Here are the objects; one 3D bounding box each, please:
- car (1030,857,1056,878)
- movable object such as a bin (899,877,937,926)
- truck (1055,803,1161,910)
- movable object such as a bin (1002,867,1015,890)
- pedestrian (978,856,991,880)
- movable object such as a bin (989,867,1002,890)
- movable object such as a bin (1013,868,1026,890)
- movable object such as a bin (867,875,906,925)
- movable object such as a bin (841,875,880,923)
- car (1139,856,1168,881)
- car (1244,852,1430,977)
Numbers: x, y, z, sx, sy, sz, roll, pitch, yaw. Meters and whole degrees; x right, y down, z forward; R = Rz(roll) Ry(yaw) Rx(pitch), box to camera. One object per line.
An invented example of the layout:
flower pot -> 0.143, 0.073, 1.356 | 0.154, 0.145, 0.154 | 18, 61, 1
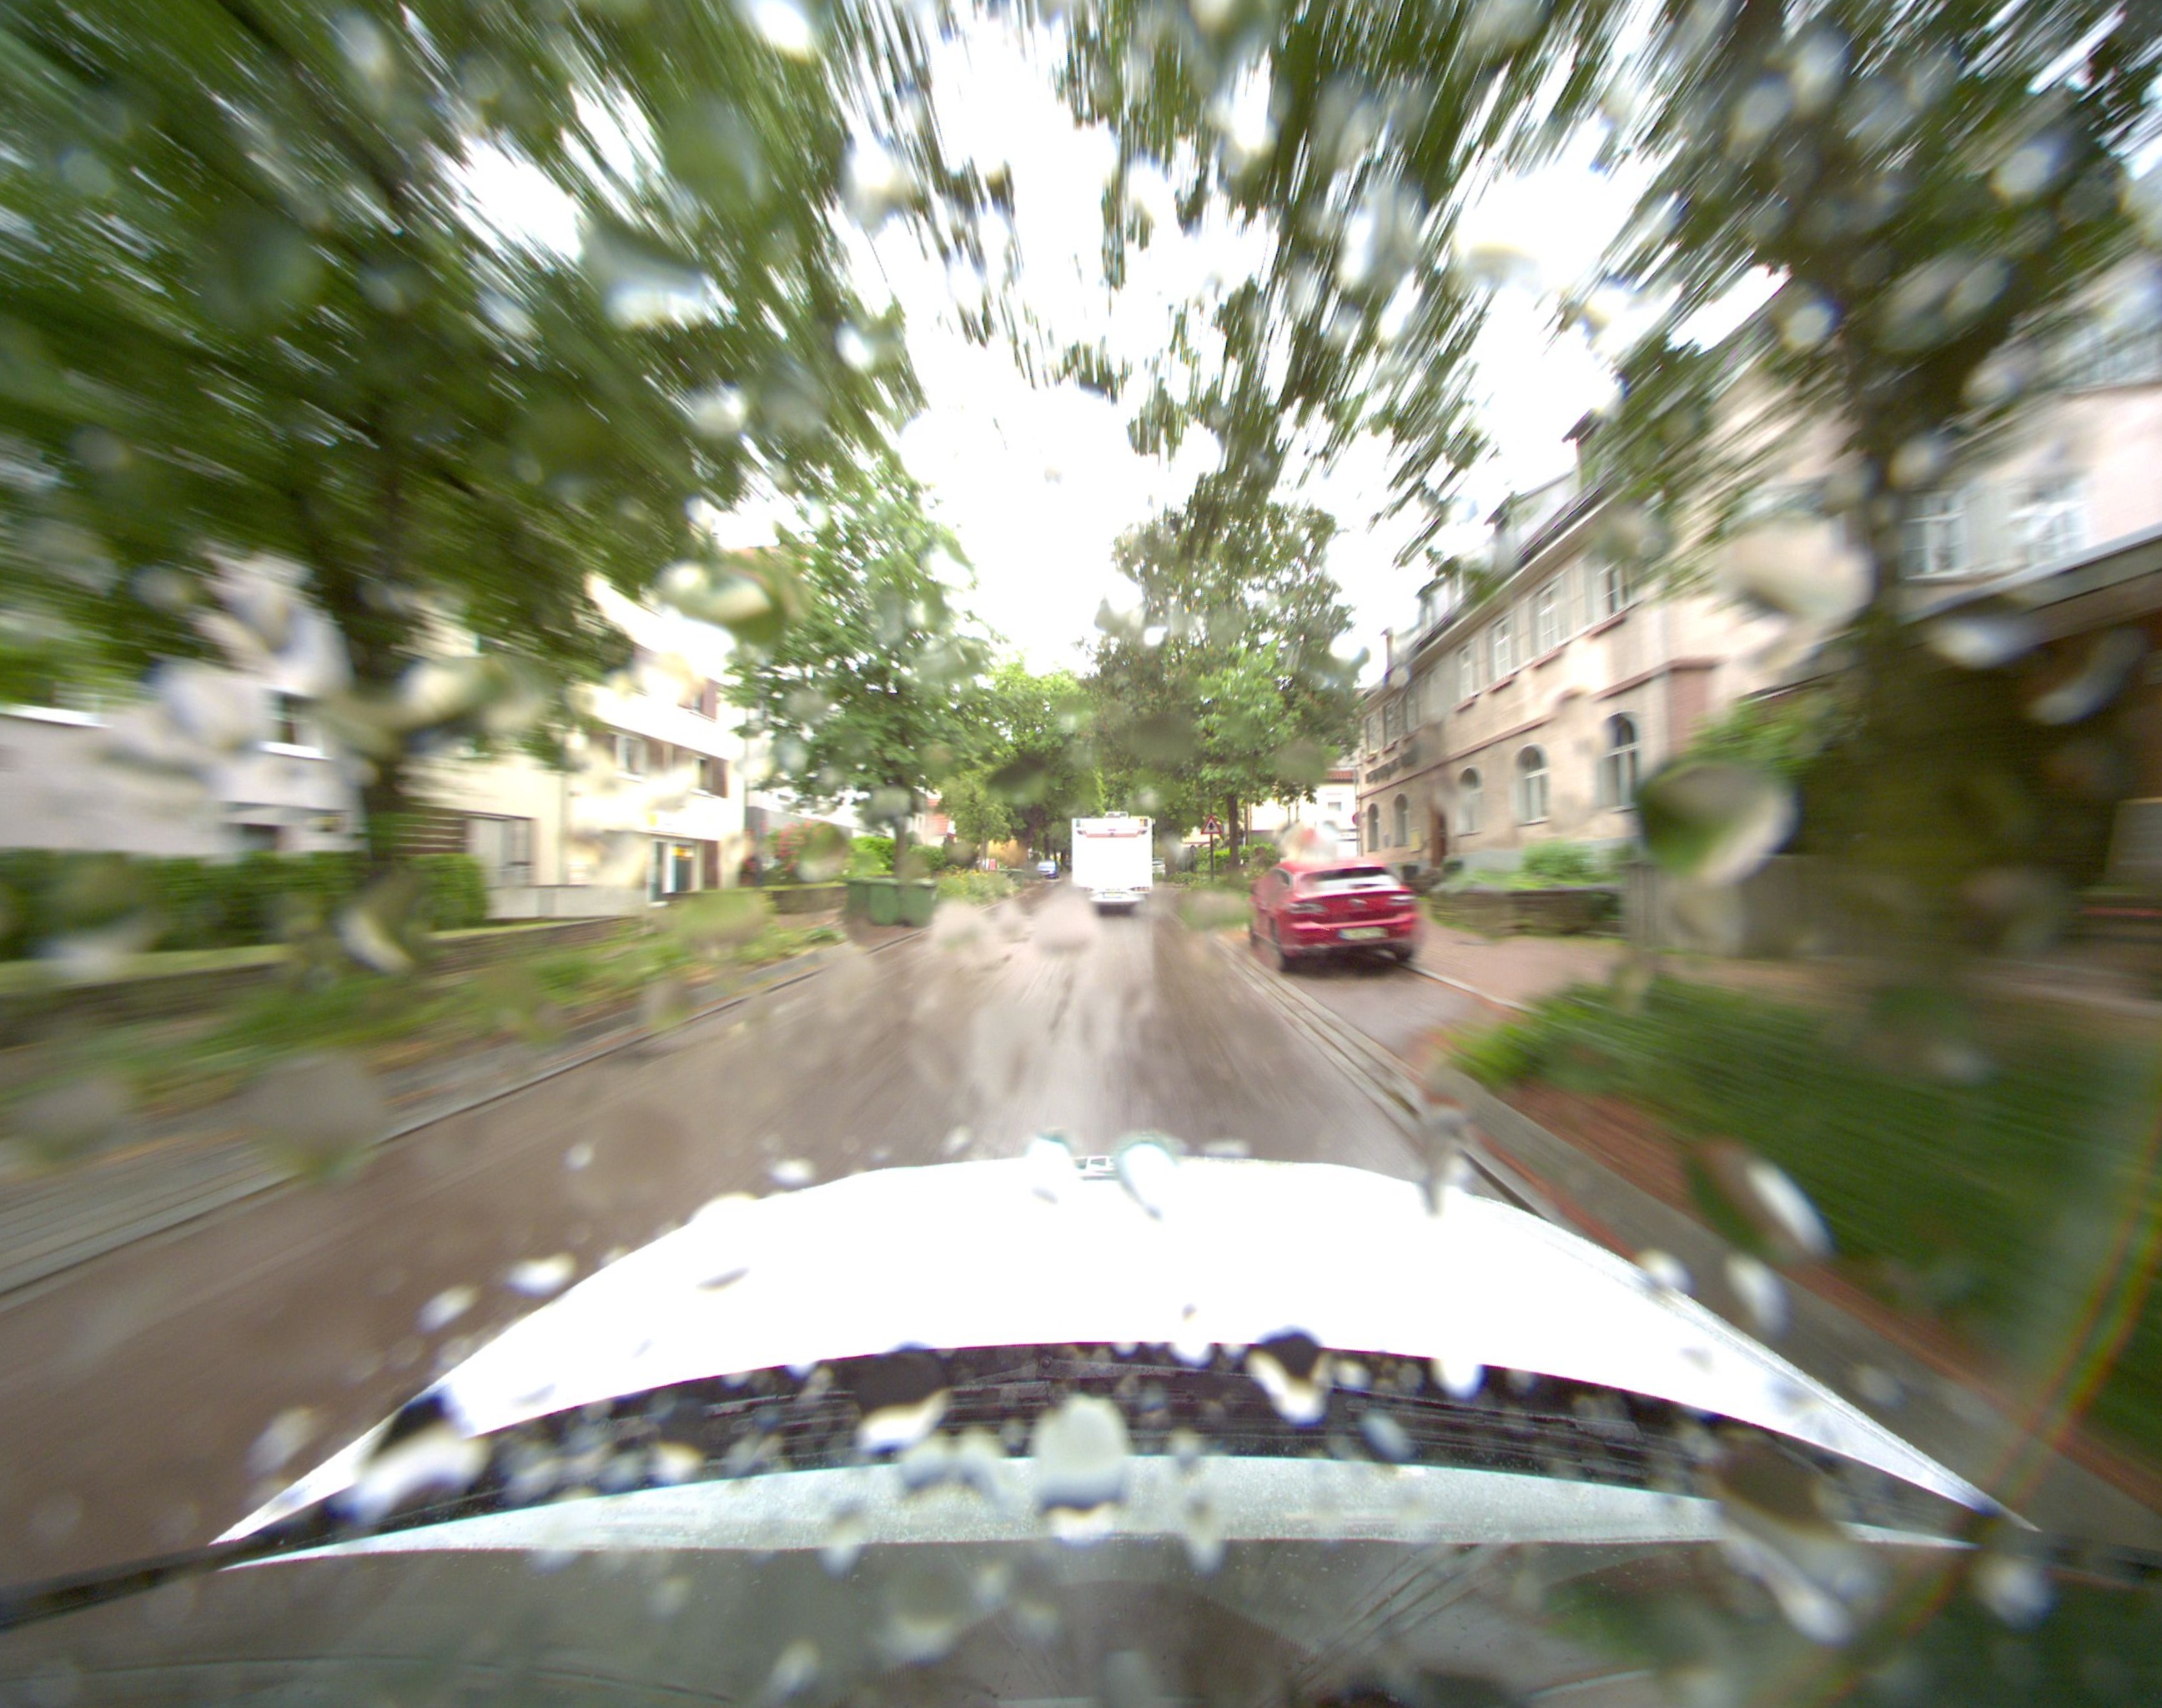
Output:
car -> -3.050, 1.095, 64.305 | 1.796, 1.552, 3.991 | -2, -1, -6
movable object such as a bin -> -3.769, 1.078, 18.861 | 0.667, 1.095, 0.817 | -1, -1, 1
truck -> 0.811, 0.132, 25.102 | 2.795, 2.797, 6.108 | -2, -1, 1
movable object such as a bin -> -3.533, 1.186, 39.444 | 0.526, 1.058, 0.562 | -2, -2, 2
pedestrian -> -7.405, 1.071, 62.498 | 0.814, 1.844, 0.770 | -2, -2, 1
movable object such as a bin -> -4.134, 1.180, 39.448 | 0.526, 1.058, 0.562 | -2, -2, 2
movable object such as a bin -> -2.971, 1.203, 39.465 | 0.526, 1.058, 0.562 | -2, -2, 2
movable object such as a bin -> -4.491, 1.054, 18.817 | 0.667, 1.105, 0.817 | -1, -1, 1
movable object such as a bin -> -5.256, 1.056, 19.440 | 0.667, 1.105, 0.817 | -1, -1, 1
car -> 4.559, 0.930, 51.862 | 1.643, 1.542, 3.532 | -2, -1, 2
car -> 3.495, 0.711, 11.940 | 1.845, 1.472, 4.374 | 0, 0, 7
